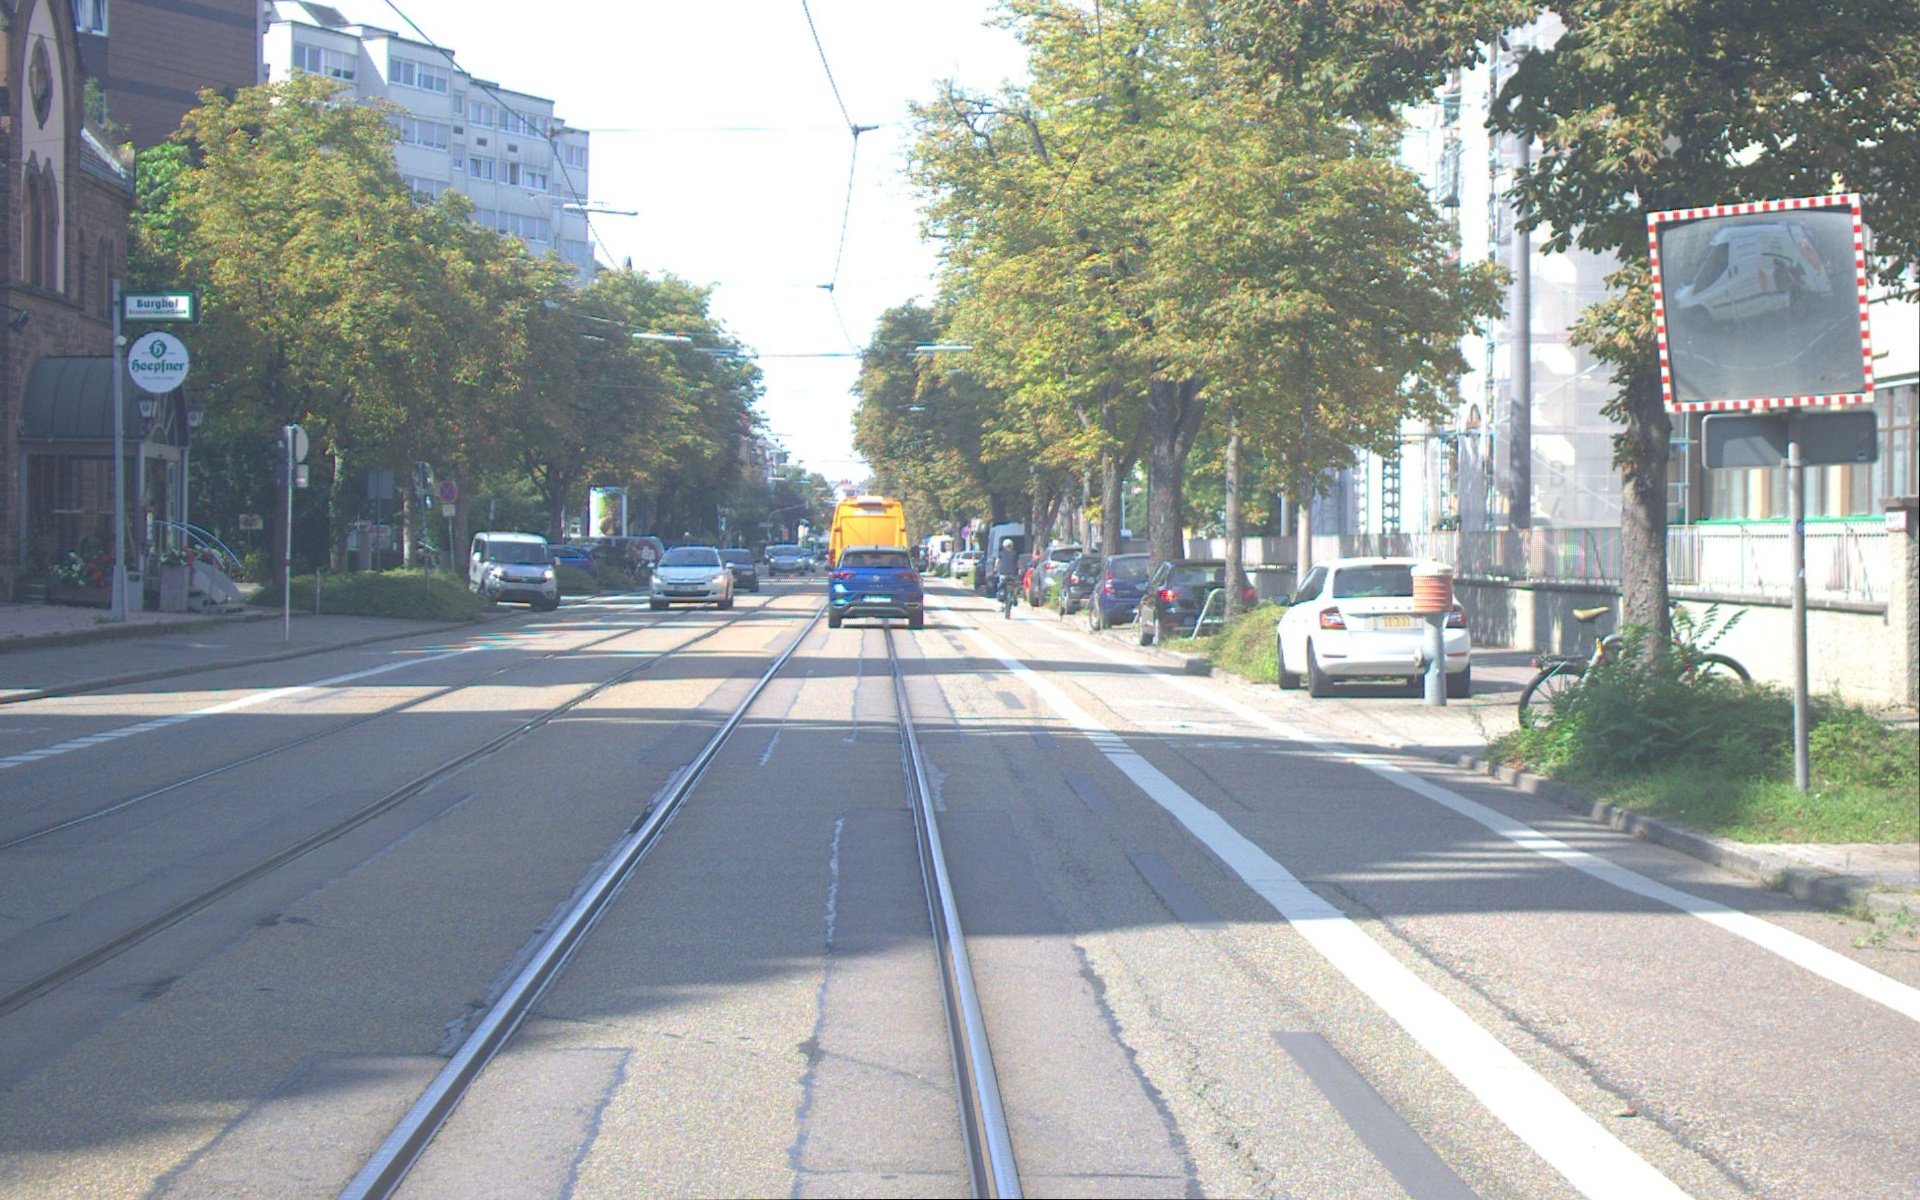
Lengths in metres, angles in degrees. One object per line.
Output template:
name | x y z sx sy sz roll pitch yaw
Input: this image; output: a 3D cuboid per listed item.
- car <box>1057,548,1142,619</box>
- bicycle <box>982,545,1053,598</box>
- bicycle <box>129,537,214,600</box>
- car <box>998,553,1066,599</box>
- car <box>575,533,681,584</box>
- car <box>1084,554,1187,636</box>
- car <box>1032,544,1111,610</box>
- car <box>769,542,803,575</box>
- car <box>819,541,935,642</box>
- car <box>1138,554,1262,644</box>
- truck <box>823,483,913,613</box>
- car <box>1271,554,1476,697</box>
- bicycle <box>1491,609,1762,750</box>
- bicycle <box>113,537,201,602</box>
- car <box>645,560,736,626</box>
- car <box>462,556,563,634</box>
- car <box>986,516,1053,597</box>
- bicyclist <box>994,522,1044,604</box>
car | 3.236 -0.407 80.448 1.633 1.579 4.189 1 1 -2
bicycle | 1.269 -0.658 76.598 1.401 1.130 4.000 1 1 -1
bicycle | -14.887 -0.596 64.925 1.451 1.089 0.399 4 0 -5
car | 2.318 -0.785 111.053 1.908 1.427 4.293 1 1 -2
car | -13.502 -1.687 140.024 3.989 2.007 1.856 0 1 -44
car | 3.411 -0.113 67.352 1.743 1.550 4.217 0 1 -1
car | 2.922 -0.619 90.537 1.740 1.662 4.362 1 1 -2
car | -9.308 -2.226 184.014 1.780 1.678 4.348 1 1 -2
car | -1.572 -0.197 65.731 2.135 1.852 5.568 0 1 -1
car | 3.861 -0.037 55.806 1.659 1.403 4.217 0 1 -1
truck | -2.246 -1.290 84.969 2.135 3.113 6.085 0 1 -1
car | 4.441 0.237 37.431 1.659 1.476 4.217 0 1 -1
bicycle | 4.775 0.565 24.677 1.812 0.955 0.558 1 1 -1
bicycle | -14.793 -0.569 63.351 1.451 1.089 0.399 4 0 -5
car | -6.421 -0.187 82.421 1.846 1.486 4.867 0 1 -1
car | -10.967 -0.142 83.997 1.746 1.790 4.001 1 1 -17
car | 2.077 -1.557 121.635 1.993 2.746 5.762 1 1 -2
bicyclist | 1.309 -0.832 76.580 1.031 1.806 1.016 1 1 -1
